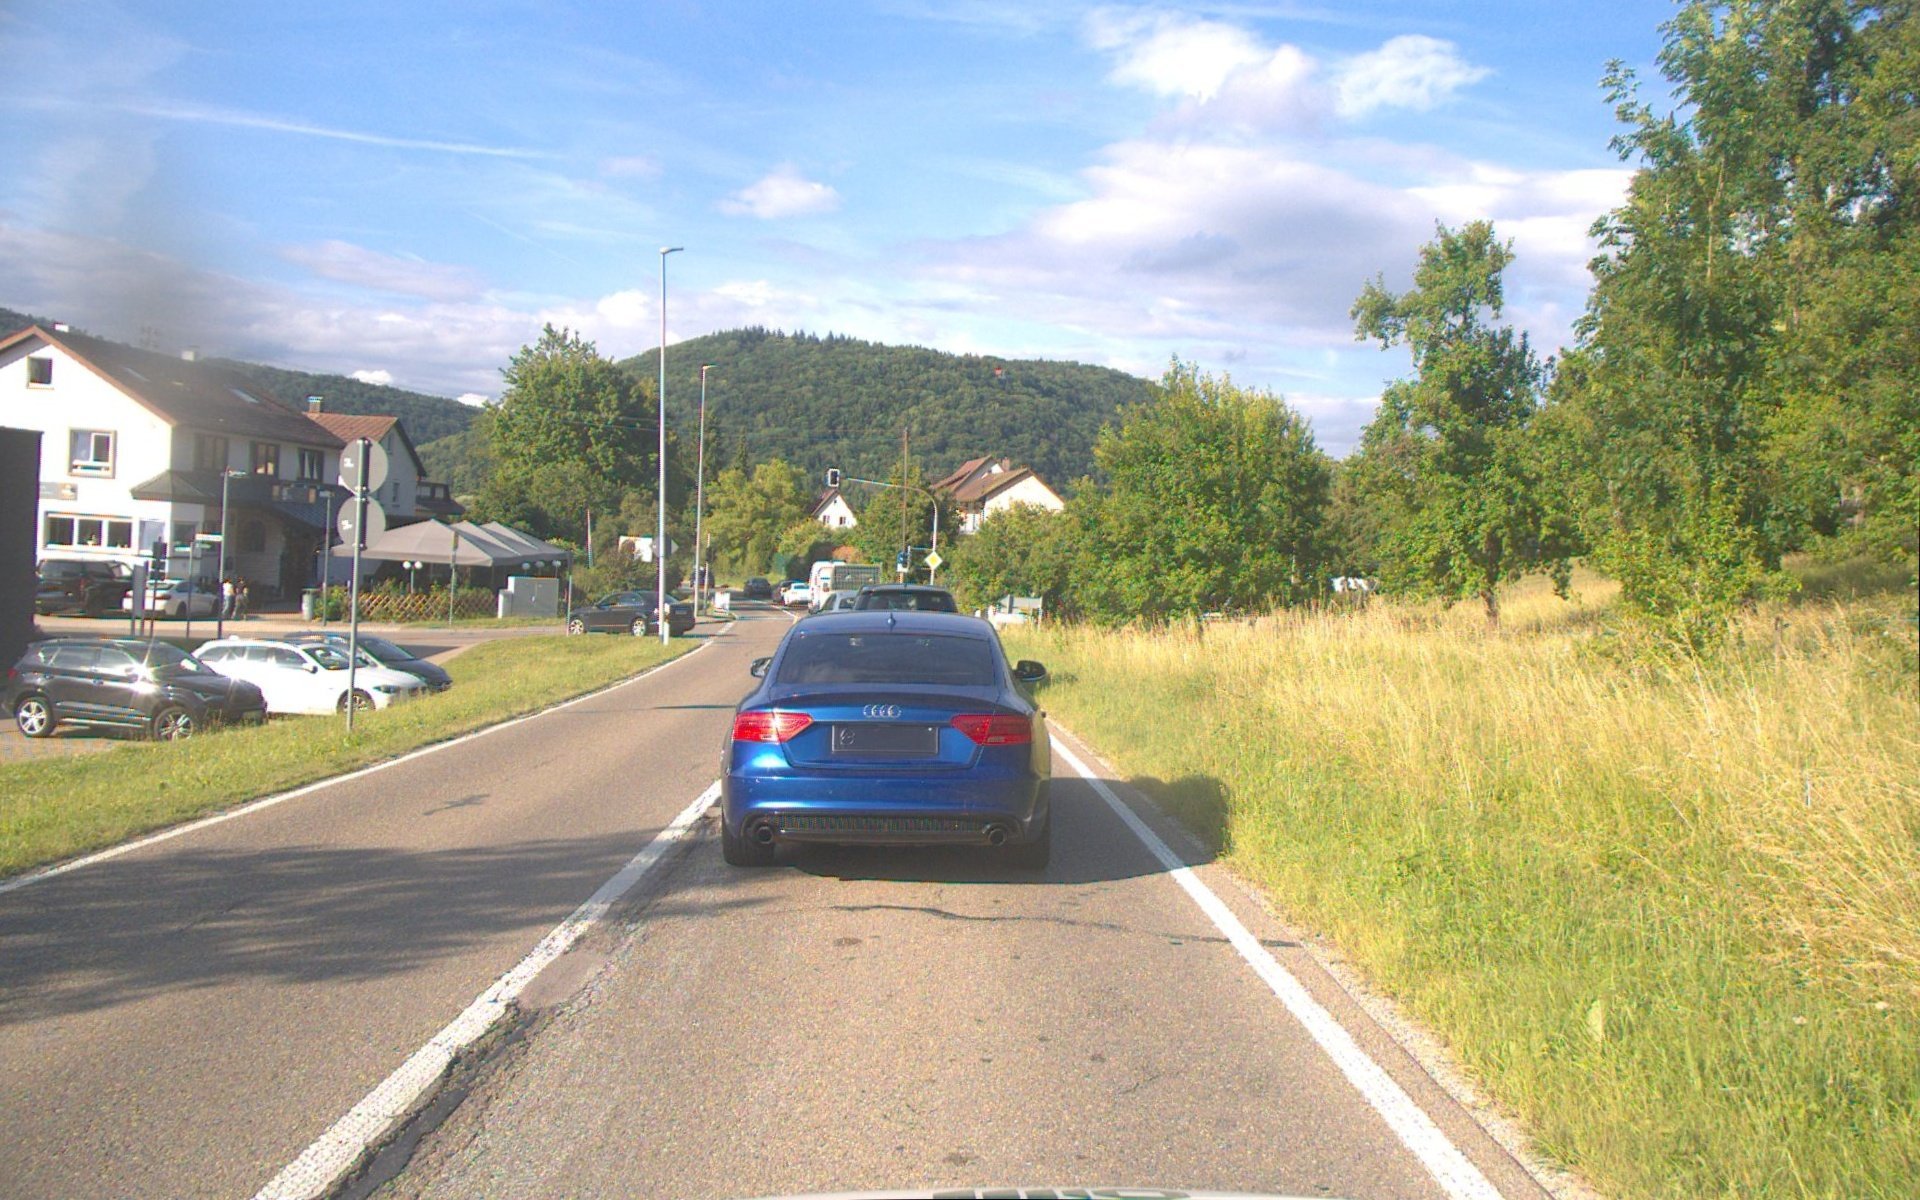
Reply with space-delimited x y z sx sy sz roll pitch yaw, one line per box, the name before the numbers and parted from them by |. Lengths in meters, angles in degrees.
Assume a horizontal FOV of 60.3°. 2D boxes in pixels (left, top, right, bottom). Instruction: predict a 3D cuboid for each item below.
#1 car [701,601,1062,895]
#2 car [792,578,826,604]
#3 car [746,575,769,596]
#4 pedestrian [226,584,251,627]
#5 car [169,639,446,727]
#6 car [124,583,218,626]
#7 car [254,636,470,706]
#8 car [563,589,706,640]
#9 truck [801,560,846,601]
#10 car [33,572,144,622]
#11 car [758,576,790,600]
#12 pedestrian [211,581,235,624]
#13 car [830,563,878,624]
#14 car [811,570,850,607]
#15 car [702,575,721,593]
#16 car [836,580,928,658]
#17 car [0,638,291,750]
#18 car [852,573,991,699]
car | -0.281 0.730 10.049 1.758 1.412 4.001 0 0 3
car | -9.101 -0.537 99.526 1.667 1.516 3.518 1 0 -10
car | -15.347 -1.057 125.359 1.666 1.516 3.520 1 0 -8
pedestrian | -25.950 0.207 59.477 0.596 1.529 0.589 1 -1 -2
car | -12.678 1.583 32.251 4.711 1.520 1.882 1 0 10
car | -28.225 0.165 59.304 1.524 1.475 3.999 1 0 -2
car | -12.668 1.478 35.135 3.902 1.333 1.762 1 0 6
car | -10.058 0.435 51.184 3.904 1.467 1.920 1 0 19
truck | -6.980 -0.961 84.061 1.667 1.988 5.907 1 0 -10
car | -30.903 -0.087 58.778 1.849 1.691 3.999 1 0 -2
car | -12.225 -0.776 108.500 1.669 1.516 3.514 1 0 -14
pedestrian | -26.606 0.081 59.708 0.596 1.529 0.589 1 -1 -2
car | -4.127 -0.234 64.132 1.712 2.234 3.995 1 0 -5
car | -6.162 -0.529 78.429 1.712 1.668 3.995 1 0 -5
car | -22.999 -1.484 153.069 1.597 1.604 3.669 1 0 -11
car | -1.749 0.436 38.416 1.767 1.668 4.464 1 0 2
car | -13.606 1.527 27.722 3.939 1.666 2.002 1 0 10
car | -0.483 0.500 24.360 1.709 1.668 4.001 1 0 3
